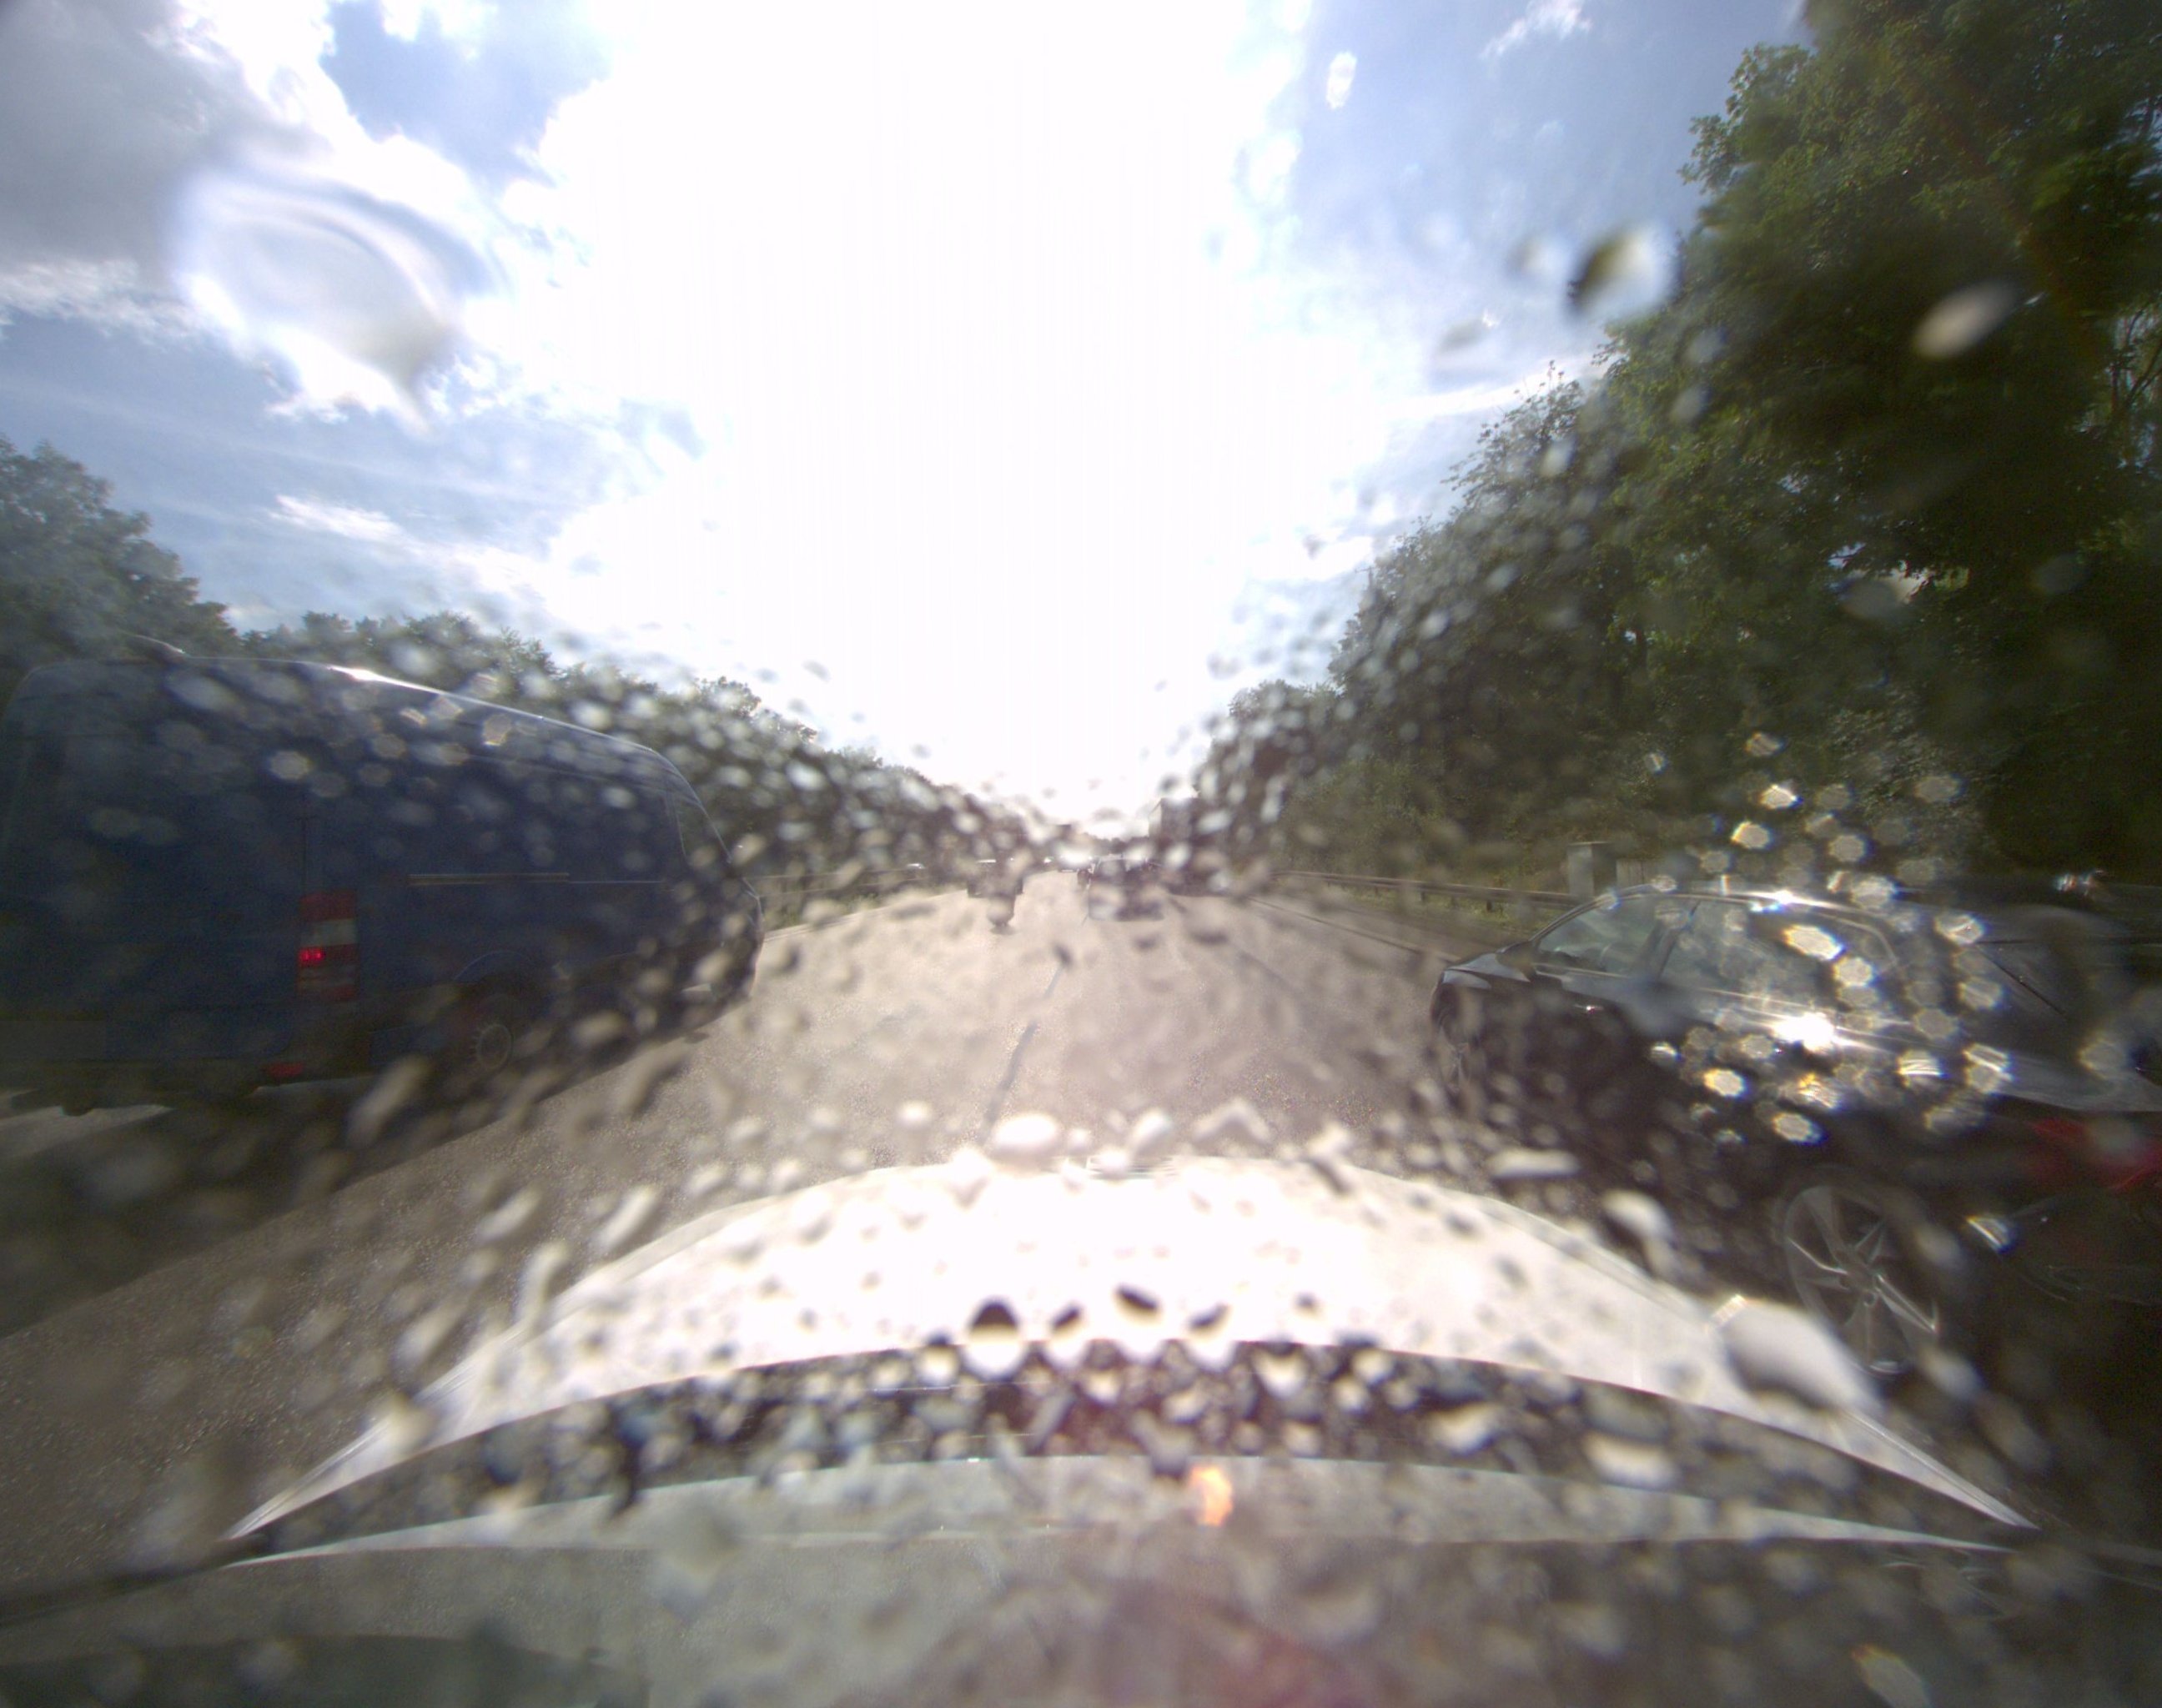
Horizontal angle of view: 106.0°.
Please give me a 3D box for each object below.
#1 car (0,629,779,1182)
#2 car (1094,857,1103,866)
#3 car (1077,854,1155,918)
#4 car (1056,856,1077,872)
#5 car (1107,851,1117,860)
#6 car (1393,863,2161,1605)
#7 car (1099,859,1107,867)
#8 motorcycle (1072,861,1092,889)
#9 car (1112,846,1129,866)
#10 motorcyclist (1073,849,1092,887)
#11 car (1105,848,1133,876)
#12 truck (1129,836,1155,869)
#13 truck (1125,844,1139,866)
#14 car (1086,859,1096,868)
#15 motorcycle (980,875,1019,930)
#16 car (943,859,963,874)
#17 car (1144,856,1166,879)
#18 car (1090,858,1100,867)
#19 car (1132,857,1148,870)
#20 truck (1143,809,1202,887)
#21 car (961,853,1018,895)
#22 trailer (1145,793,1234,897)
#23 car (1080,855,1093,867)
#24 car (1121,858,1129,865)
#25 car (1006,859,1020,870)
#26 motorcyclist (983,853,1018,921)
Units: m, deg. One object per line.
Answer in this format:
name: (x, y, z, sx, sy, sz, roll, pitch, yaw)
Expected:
car: (-4.661, 0.264, 6.825, 2.008, 2.648, 5.777, -1, 0, 1)
car: (4.196, 1.809, 192.143, 1.986, 2.014, 4.002, 0, -1, 2)
car: (0.945, 0.811, 22.357, 1.907, 1.565, 4.316, -1, 0, 2)
car: (-1.496, 1.008, 85.770, 1.885, 1.628, 4.197, -1, 0, 2)
car: (5.084, 0.252, 133.158, 1.625, 1.490, 3.438, -1, 0, 2)
car: (3.042, 0.761, 3.644, 1.748, 1.396, 4.370, -1, 0, 2)
car: (5.713, 2.275, 211.795, 1.986, 2.014, 4.002, 0, -1, 2)
motorcycle: (0.082, 0.958, 38.370, 0.816, 1.263, 2.119, 0, 0, 3)
car: (3.982, 0.219, 82.700, 1.669, 1.936, 3.775, -1, 0, 2)
motorcyclist: (0.079, 0.650, 38.267, 0.818, 1.761, 1.391, -1, -1, 3)
car: (2.786, 0.620, 60.728, 1.986, 2.014, 4.001, 0, -1, 2)
truck: (8.306, -0.156, 111.588, 3.189, 4.404, 9.438, -1, 0, 3)
truck: (11.518, 0.337, 184.339, 2.870, 4.688, 12.665, -1, -1, 2)
car: (1.793, 1.712, 145.134, 1.669, 1.490, 3.438, -1, 0, 2)
motorcycle: (-1.752, 1.034, 17.844, 0.674, 1.087, 1.981, 0, 0, -1)
car: (-17.430, 1.673, 111.020, 1.986, 2.013, 4.002, 0, 0, 2)
car: (6.755, 1.229, 74.956, 1.841, 2.014, 4.090, -1, -1, 3)
car: (2.914, 1.805, 171.144, 1.986, 2.014, 4.002, 0, -1, 2)
car: (6.863, 1.127, 94.738, 1.669, 1.490, 3.438, -1, 0, 2)
truck: (5.311, -0.322, 48.280, 3.040, 4.325, 5.888, 0, -1, 2)
car: (-3.761, 0.802, 34.241, 1.751, 1.595, 4.332, -1, 0, 2)
trailer: (5.072, -0.349, 41.108, 3.076, 4.312, 14.111, -1, 0, 2)
car: (0.811, 1.023, 118.966, 1.669, 1.597, 3.438, -1, 0, 2)
car: (12.184, 2.043, 226.731, 1.986, 2.014, 4.001, 0, -1, 2)
car: (-11.675, 1.778, 139.931, 1.917, 1.911, 4.291, -2, 0, 3)
motorcyclist: (-1.761, 0.699, 17.859, 0.668, 1.442, 1.019, 0, -1, -1)
